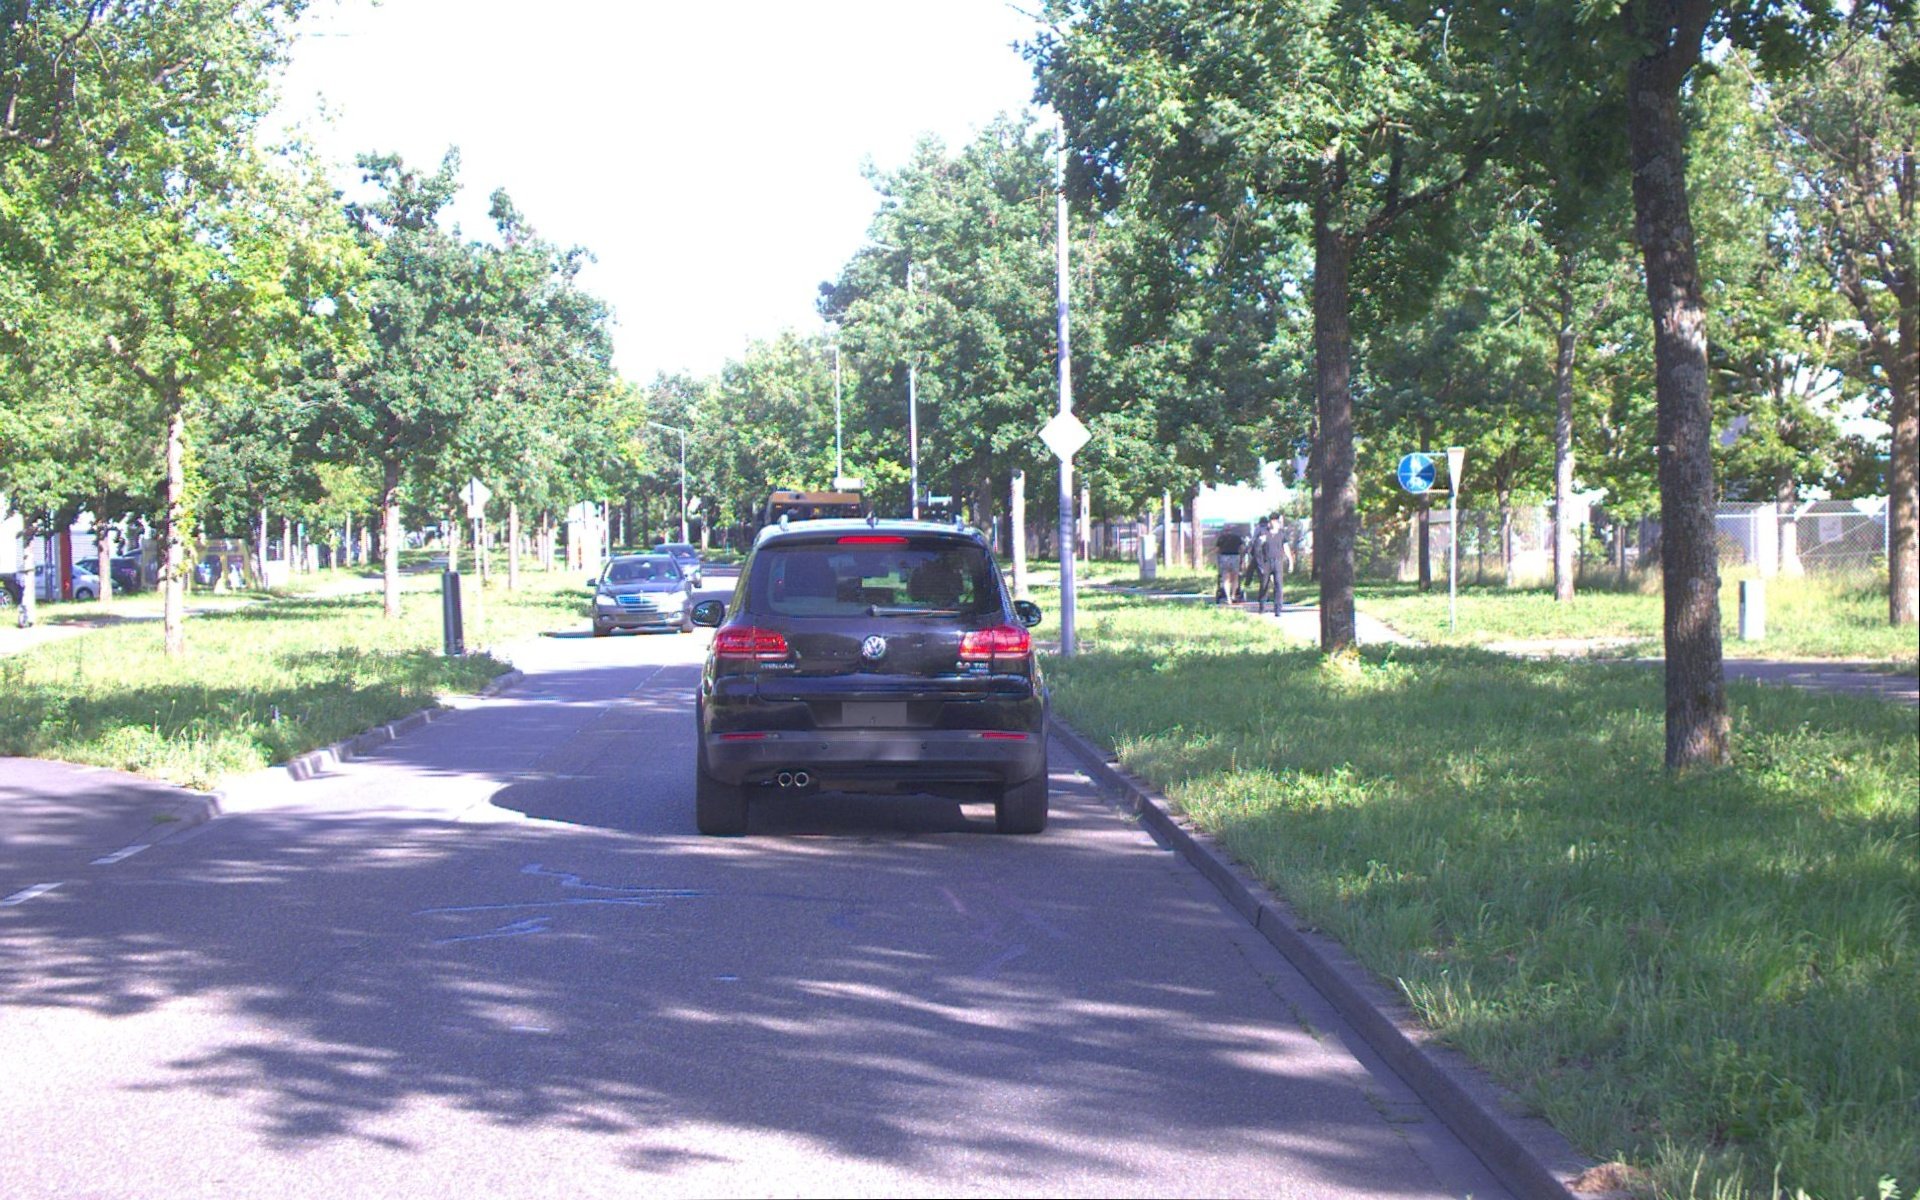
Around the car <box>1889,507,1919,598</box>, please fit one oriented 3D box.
[{"bbox_3d":[18.447,-0.885,62.413,2.005,1.658,3.597,-1,1,-3],"label":"car"}]

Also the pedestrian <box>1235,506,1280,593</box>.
[{"bbox_3d":[6.103,-1.043,70.525,0.725,1.749,0.868,-3,1,-3],"label":"pedestrian"}]

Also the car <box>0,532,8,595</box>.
[{"bbox_3d":[-32.754,-1.099,108.426,4.846,2.007,1.999,-2,2,-45],"label":"car"}]

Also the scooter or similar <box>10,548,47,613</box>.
[{"bbox_3d":[-18.699,-0.400,69.035,0.395,1.275,1.441,-1,1,-2],"label":"scooter or similar"}]

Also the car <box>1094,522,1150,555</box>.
[{"bbox_3d":[8.883,-3.363,188.342,2.184,1.738,4.643,-1,1,-8],"label":"car"}]

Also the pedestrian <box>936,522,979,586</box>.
[{"bbox_3d":[-0.065,-1.214,89.901,1.019,1.646,1.100,-1,1,-4],"label":"pedestrian"}]

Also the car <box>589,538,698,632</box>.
[{"bbox_3d":[-5.698,-0.299,62.330,1.765,1.523,4.496,-2,2,-3],"label":"car"}]

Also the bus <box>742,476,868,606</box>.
[{"bbox_3d":[-4.503,-1.707,97.932,2.764,3.444,11.213,-1,1,-6],"label":"bus"}]

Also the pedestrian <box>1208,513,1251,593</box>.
[{"bbox_3d":[5.454,-0.962,69.617,0.725,1.597,0.868,-1,1,-4],"label":"pedestrian"}]

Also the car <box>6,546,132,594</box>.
[{"bbox_3d":[-31.041,-1.054,119.784,3.744,1.612,1.963,-1,1,12],"label":"car"}]

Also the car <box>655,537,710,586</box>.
[{"bbox_3d":[-9.533,-1.351,118.373,1.804,1.531,4.496,-2,2,-4],"label":"car"}]

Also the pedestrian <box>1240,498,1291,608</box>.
[{"bbox_3d":[5.165,-0.803,58.175,0.725,1.806,0.868,-1,4,-3],"label":"pedestrian"}]

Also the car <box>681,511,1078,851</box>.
[{"bbox_3d":[-0.527,0.343,19.069,1.936,1.650,4.428,0,1,-3],"label":"car"}]
